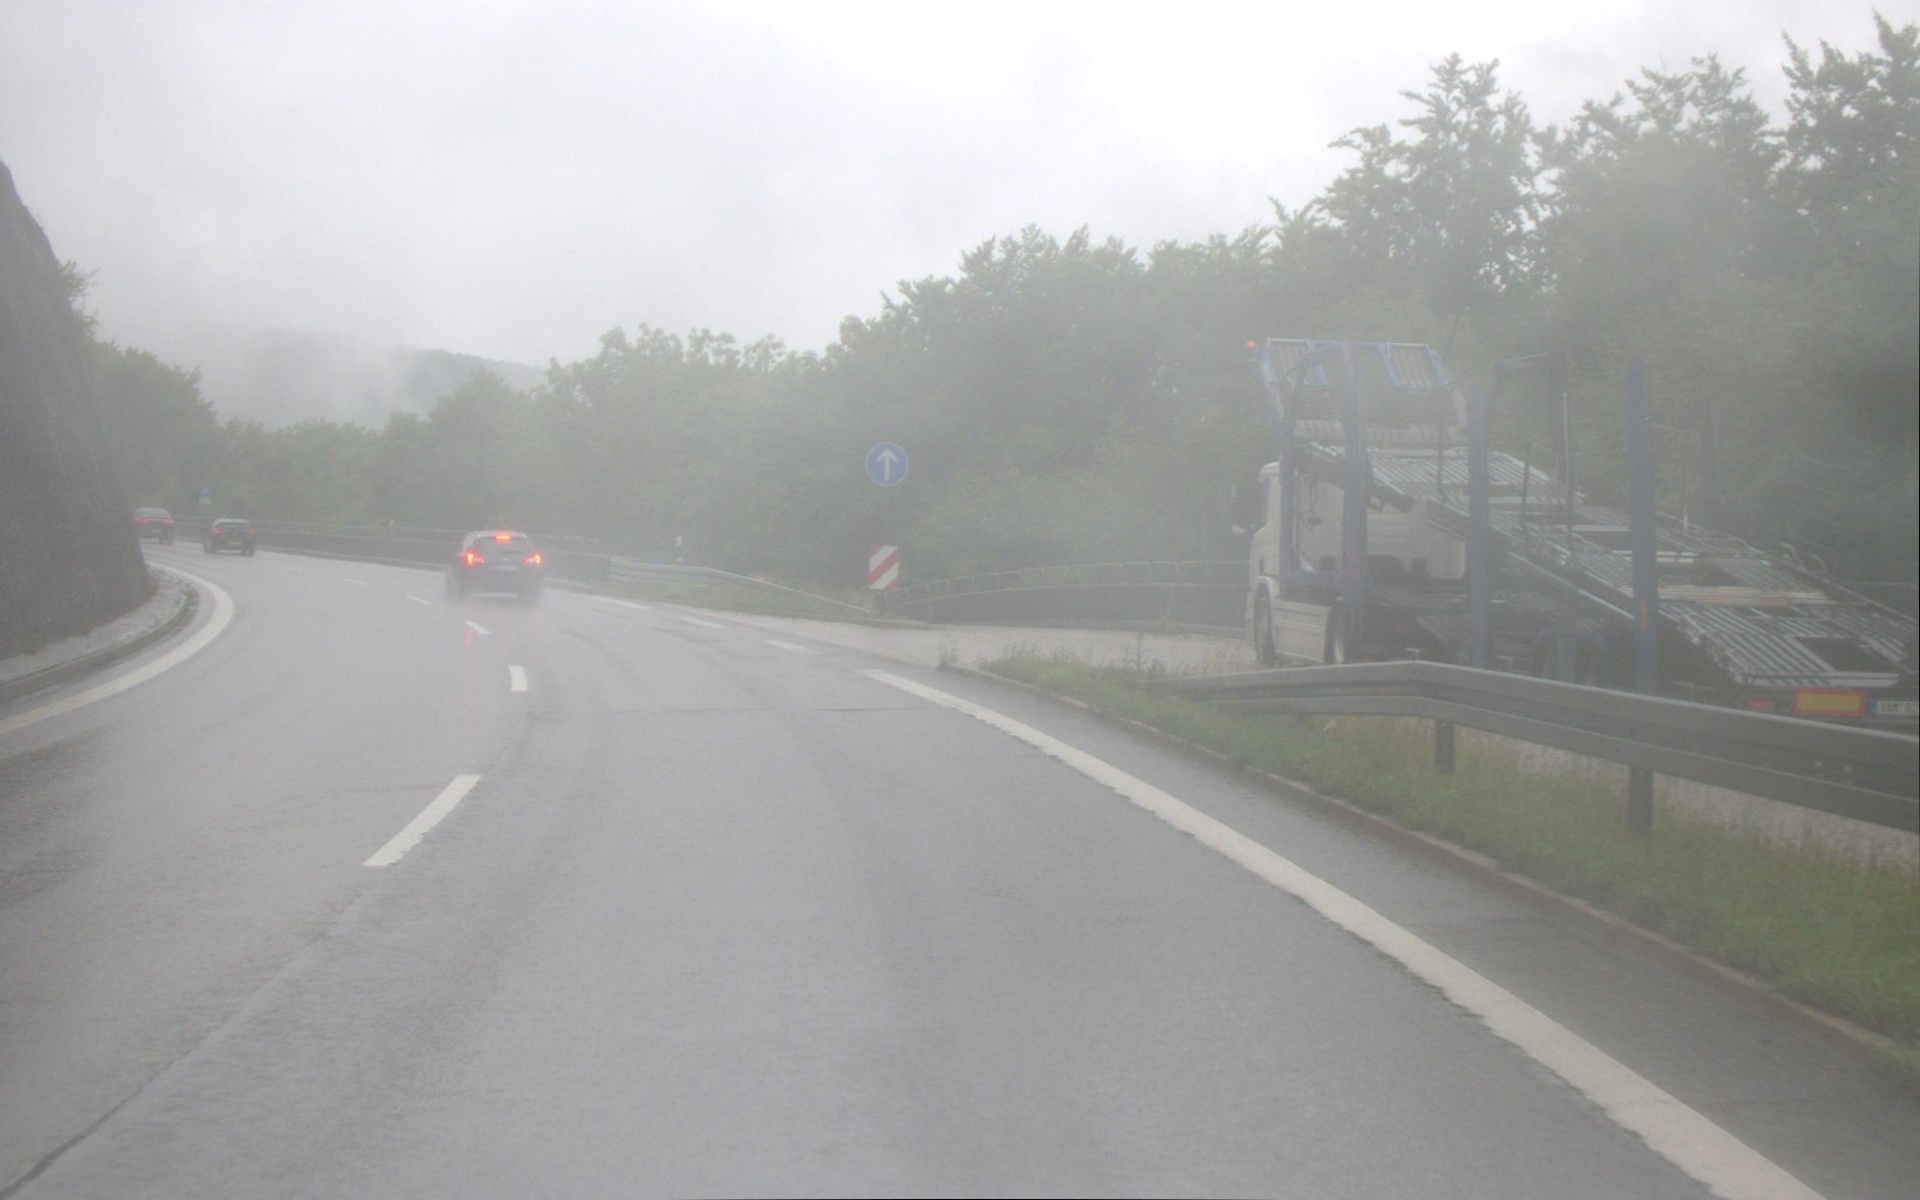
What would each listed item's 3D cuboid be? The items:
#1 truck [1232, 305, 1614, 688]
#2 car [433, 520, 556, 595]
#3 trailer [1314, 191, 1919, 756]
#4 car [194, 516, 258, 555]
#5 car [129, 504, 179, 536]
[{"bbox_3d":[5.426,-1.193,41.645,2.895,4.230,6.883,0,1,-7],"label":"truck"},{"bbox_3d":[-10.033,-0.929,73.877,1.903,1.494,4.001,2,1,-18],"label":"car"},{"bbox_3d":[6.477,-1.045,33.234,2.891,4.230,14.701,0,1,-7],"label":"trailer"},{"bbox_3d":[-30.341,-2.682,142.057,1.903,1.494,4.001,2,1,-21],"label":"car"},{"bbox_3d":[-39.630,-3.937,168.930,1.903,1.494,4.001,2,1,-20],"label":"car"}]
